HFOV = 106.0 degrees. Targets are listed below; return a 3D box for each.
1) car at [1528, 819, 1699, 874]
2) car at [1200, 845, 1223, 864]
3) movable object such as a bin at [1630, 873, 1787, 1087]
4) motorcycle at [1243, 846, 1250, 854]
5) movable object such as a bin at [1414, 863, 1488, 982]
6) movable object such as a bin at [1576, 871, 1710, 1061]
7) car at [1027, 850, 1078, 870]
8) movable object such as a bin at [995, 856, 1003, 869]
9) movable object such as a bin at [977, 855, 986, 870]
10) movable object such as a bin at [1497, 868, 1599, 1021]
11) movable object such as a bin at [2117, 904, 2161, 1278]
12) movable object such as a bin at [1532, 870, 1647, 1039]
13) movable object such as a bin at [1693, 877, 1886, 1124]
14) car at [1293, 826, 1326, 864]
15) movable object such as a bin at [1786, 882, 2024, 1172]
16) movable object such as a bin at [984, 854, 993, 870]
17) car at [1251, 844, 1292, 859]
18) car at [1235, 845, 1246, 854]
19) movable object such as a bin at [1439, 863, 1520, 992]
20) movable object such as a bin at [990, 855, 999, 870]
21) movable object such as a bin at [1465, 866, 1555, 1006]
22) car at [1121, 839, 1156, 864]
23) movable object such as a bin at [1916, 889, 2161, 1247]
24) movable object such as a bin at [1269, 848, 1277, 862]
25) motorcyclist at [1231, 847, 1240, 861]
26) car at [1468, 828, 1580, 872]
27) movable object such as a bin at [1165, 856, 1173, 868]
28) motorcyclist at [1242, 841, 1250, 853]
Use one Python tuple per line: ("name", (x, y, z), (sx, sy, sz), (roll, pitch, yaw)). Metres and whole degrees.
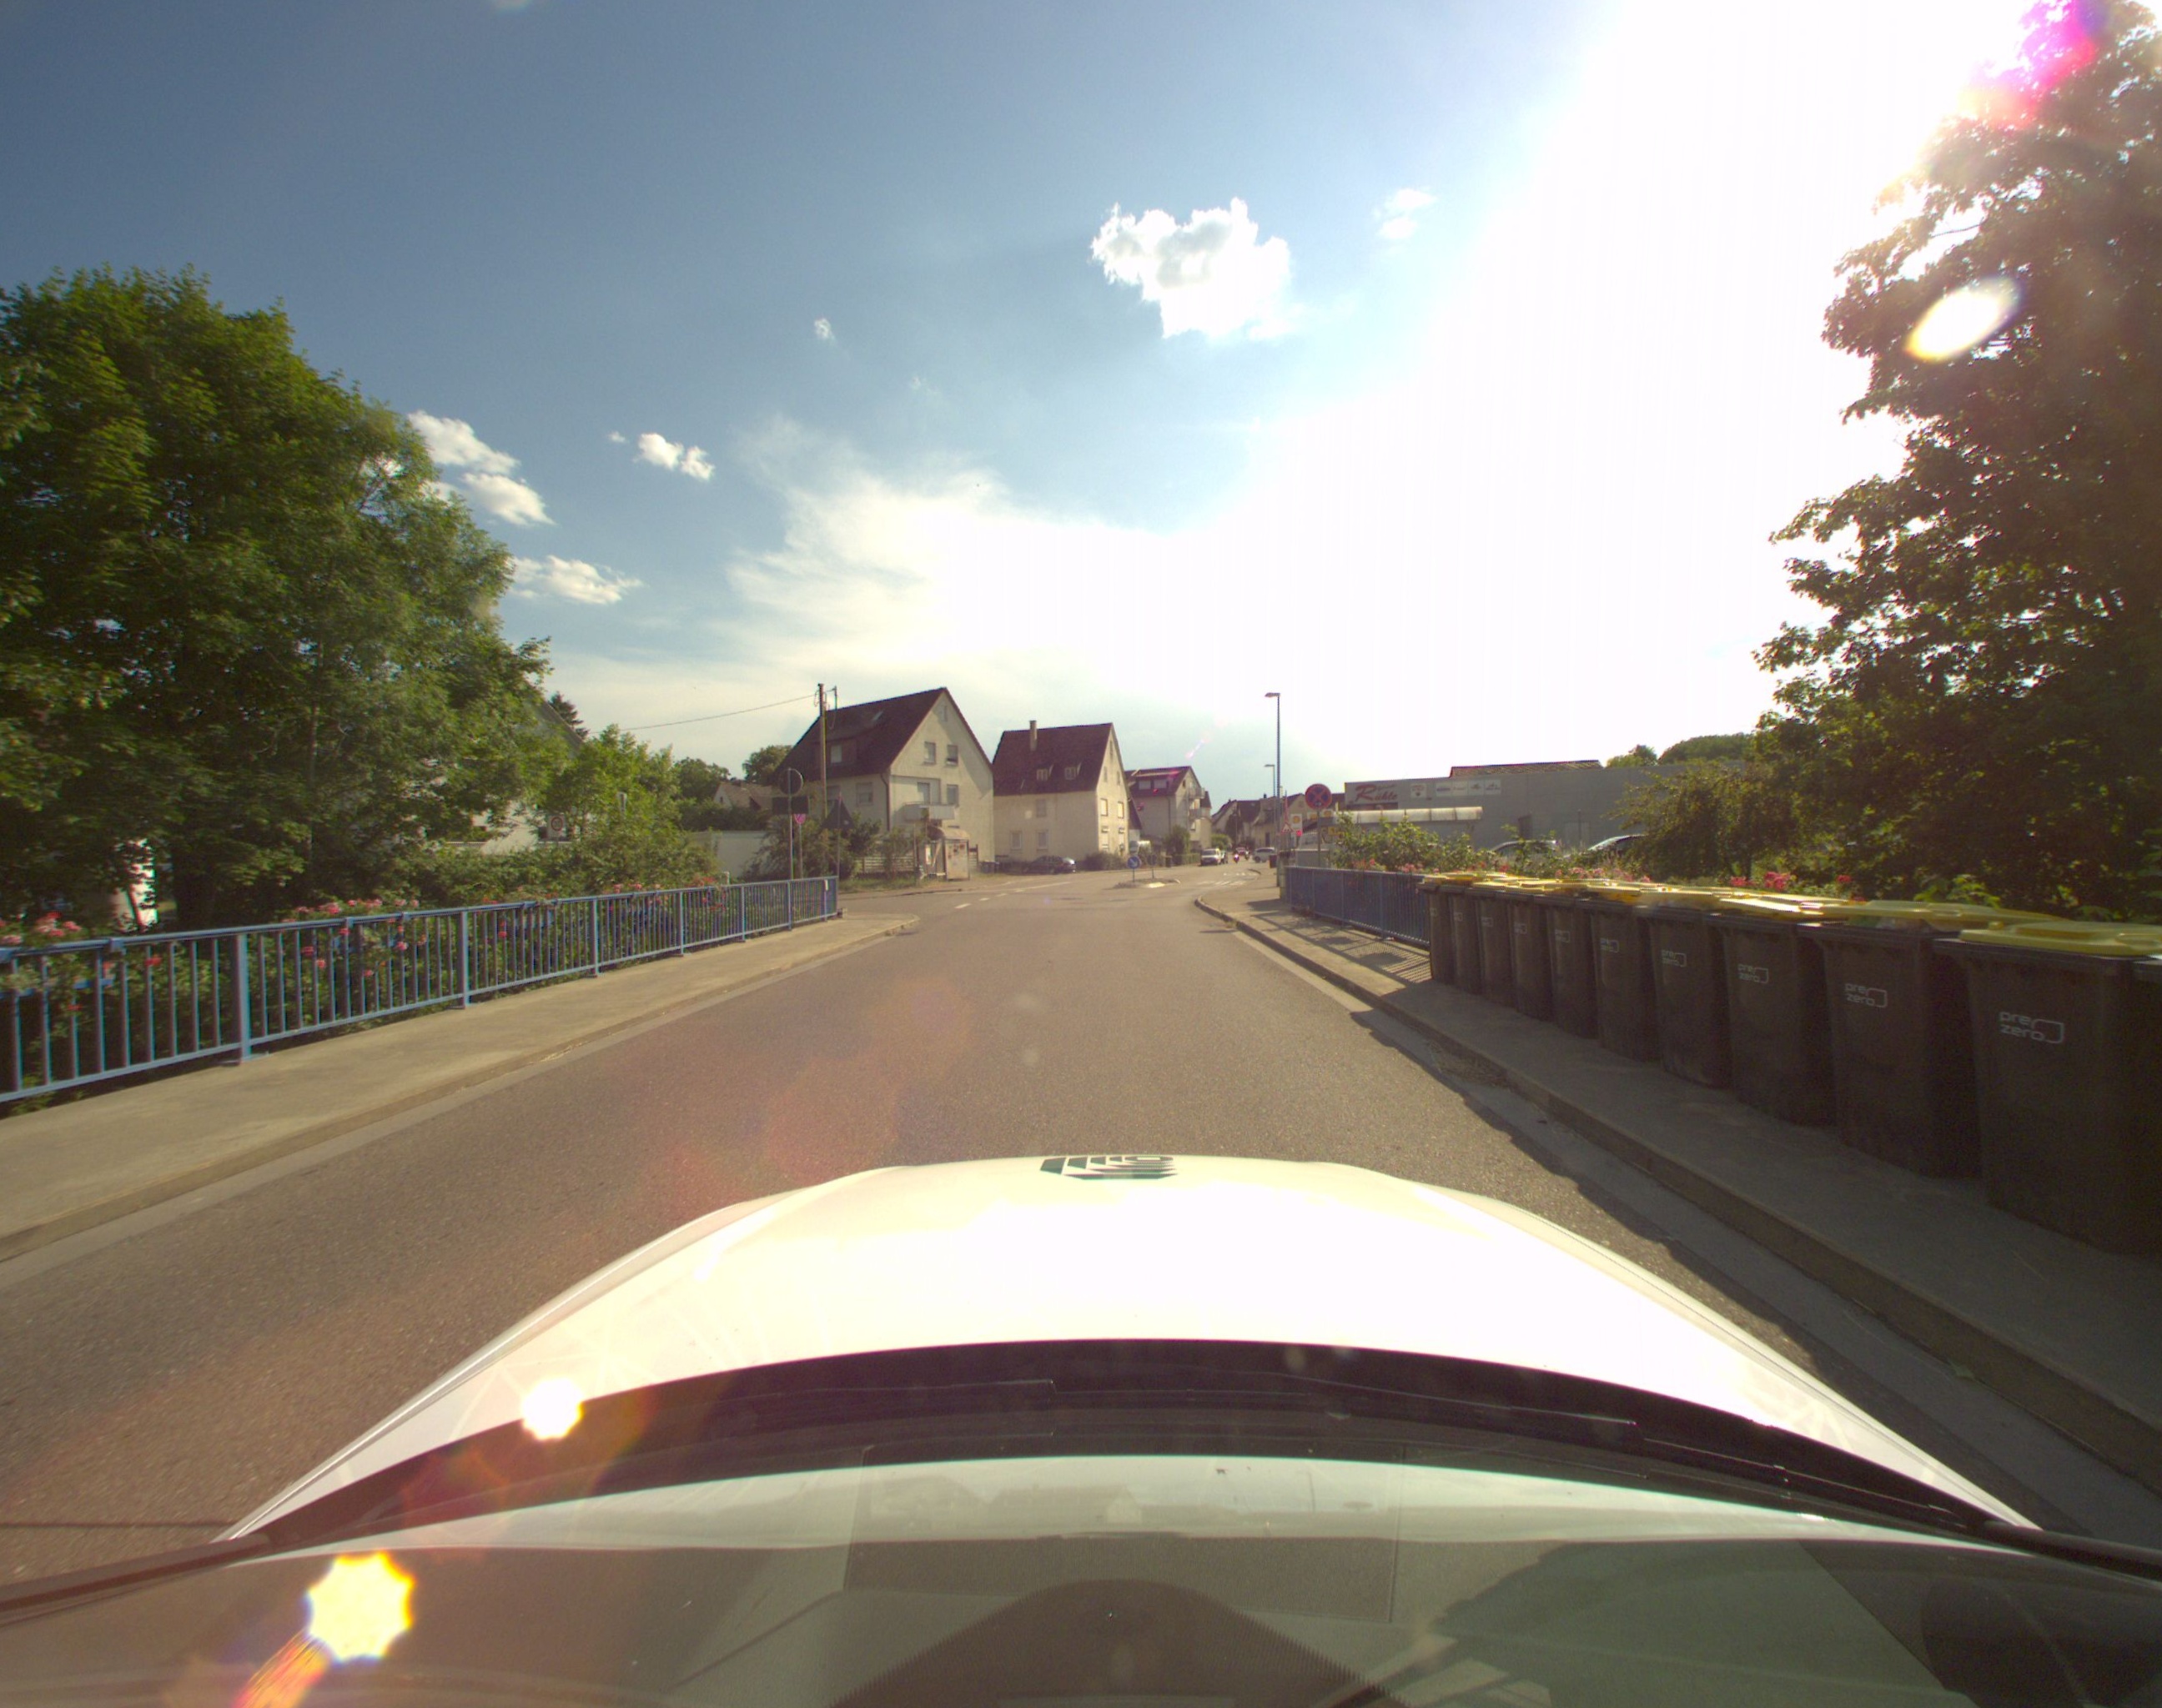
("car", (15.673, -0.195, 24.203), (3.908, 1.448, 1.690), (-2, -1, 17))
("car", (13.821, 0.001, 85.981), (1.703, 1.872, 4.211), (-3, 0, 17))
("movable object such as a bin", (3.635, 0.703, 4.754), (0.477, 1.143, 0.539), (-2, 0, 1))
("motorcycle", (20.630, -0.509, 101.531), (0.520, 1.012, 2.037), (0, 0, 19))
("movable object such as a bin", (3.748, 0.675, 8.276), (0.477, 1.143, 0.539), (-2, 0, 1))
("movable object such as a bin", (3.649, 0.701, 5.320), (0.477, 1.143, 0.539), (-2, 0, 1))
("car", (-2.200, 0.439, 63.256), (3.950, 1.433, 1.663), (0, 2, 44))
("movable object such as a bin", (-5.631, 0.587, 55.799), (0.357, 0.925, 0.402), (-2, -1, 33))
("movable object such as a bin", (-6.642, 0.579, 54.360), (0.357, 1.016, 0.561), (-2, -1, 33))
("movable object such as a bin", (3.716, 0.699, 6.509), (0.477, 1.143, 0.539), (-2, 0, 1))
("movable object such as a bin", (3.541, 0.728, 2.318), (0.477, 1.143, 0.539), (-2, 0, 1))
("movable object such as a bin", (3.673, 0.703, 5.915), (0.477, 1.143, 0.539), (-2, 0, 1))
("movable object such as a bin", (3.597, 0.709, 4.173), (0.477, 1.143, 0.565), (-2, 0, 1))
("car", (15.474, -0.616, 55.271), (1.823, 2.374, 5.197), (-2, 0, 13))
("movable object such as a bin", (3.585, 0.715, 3.582), (0.477, 1.143, 0.539), (-2, 0, 1))
("movable object such as a bin", (-6.234, 0.548, 54.851), (0.357, 1.041, 0.561), (-2, -1, 33))
("car", (20.988, -0.257, 89.736), (3.948, 1.608, 2.013), (-1, 1, 36))
("car", (26.422, -0.726, 134.858), (1.698, 1.434, 3.791), (-2, 1, 9))
("movable object such as a bin", (3.745, 0.672, 7.684), (0.477, 1.143, 0.539), (-2, 0, 1))
("movable object such as a bin", (-5.884, 0.558, 55.351), (0.357, 1.023, 0.580), (-2, -1, 33))
("movable object such as a bin", (3.721, 0.690, 7.091), (0.477, 1.143, 0.539), (-2, 0, 1))
("car", (6.510, -0.332, 91.118), (2.140, 2.595, 6.126), (-1, 1, 21))
("movable object such as a bin", (3.564, 0.722, 2.964), (0.477, 1.143, 0.539), (-2, 0, 1))
("movable object such as a bin", (14.984, 0.058, 63.567), (0.563, 1.075, 0.575), (-3, 0, 12))
("motorcyclist", (17.290, 0.043, 91.149), (0.730, 1.527, 1.021), (1, 0, 18))
("car", (16.166, -0.140, 29.895), (3.407, 1.416, 1.506), (-3, -1, 21))
("movable object such as a bin", (8.283, 0.750, 76.601), (0.606, 1.101, 0.578), (0, 0, 17))
("motorcyclist", (20.570, -0.886, 101.423), (0.796, 1.436, 1.042), (0, 1, 19))
